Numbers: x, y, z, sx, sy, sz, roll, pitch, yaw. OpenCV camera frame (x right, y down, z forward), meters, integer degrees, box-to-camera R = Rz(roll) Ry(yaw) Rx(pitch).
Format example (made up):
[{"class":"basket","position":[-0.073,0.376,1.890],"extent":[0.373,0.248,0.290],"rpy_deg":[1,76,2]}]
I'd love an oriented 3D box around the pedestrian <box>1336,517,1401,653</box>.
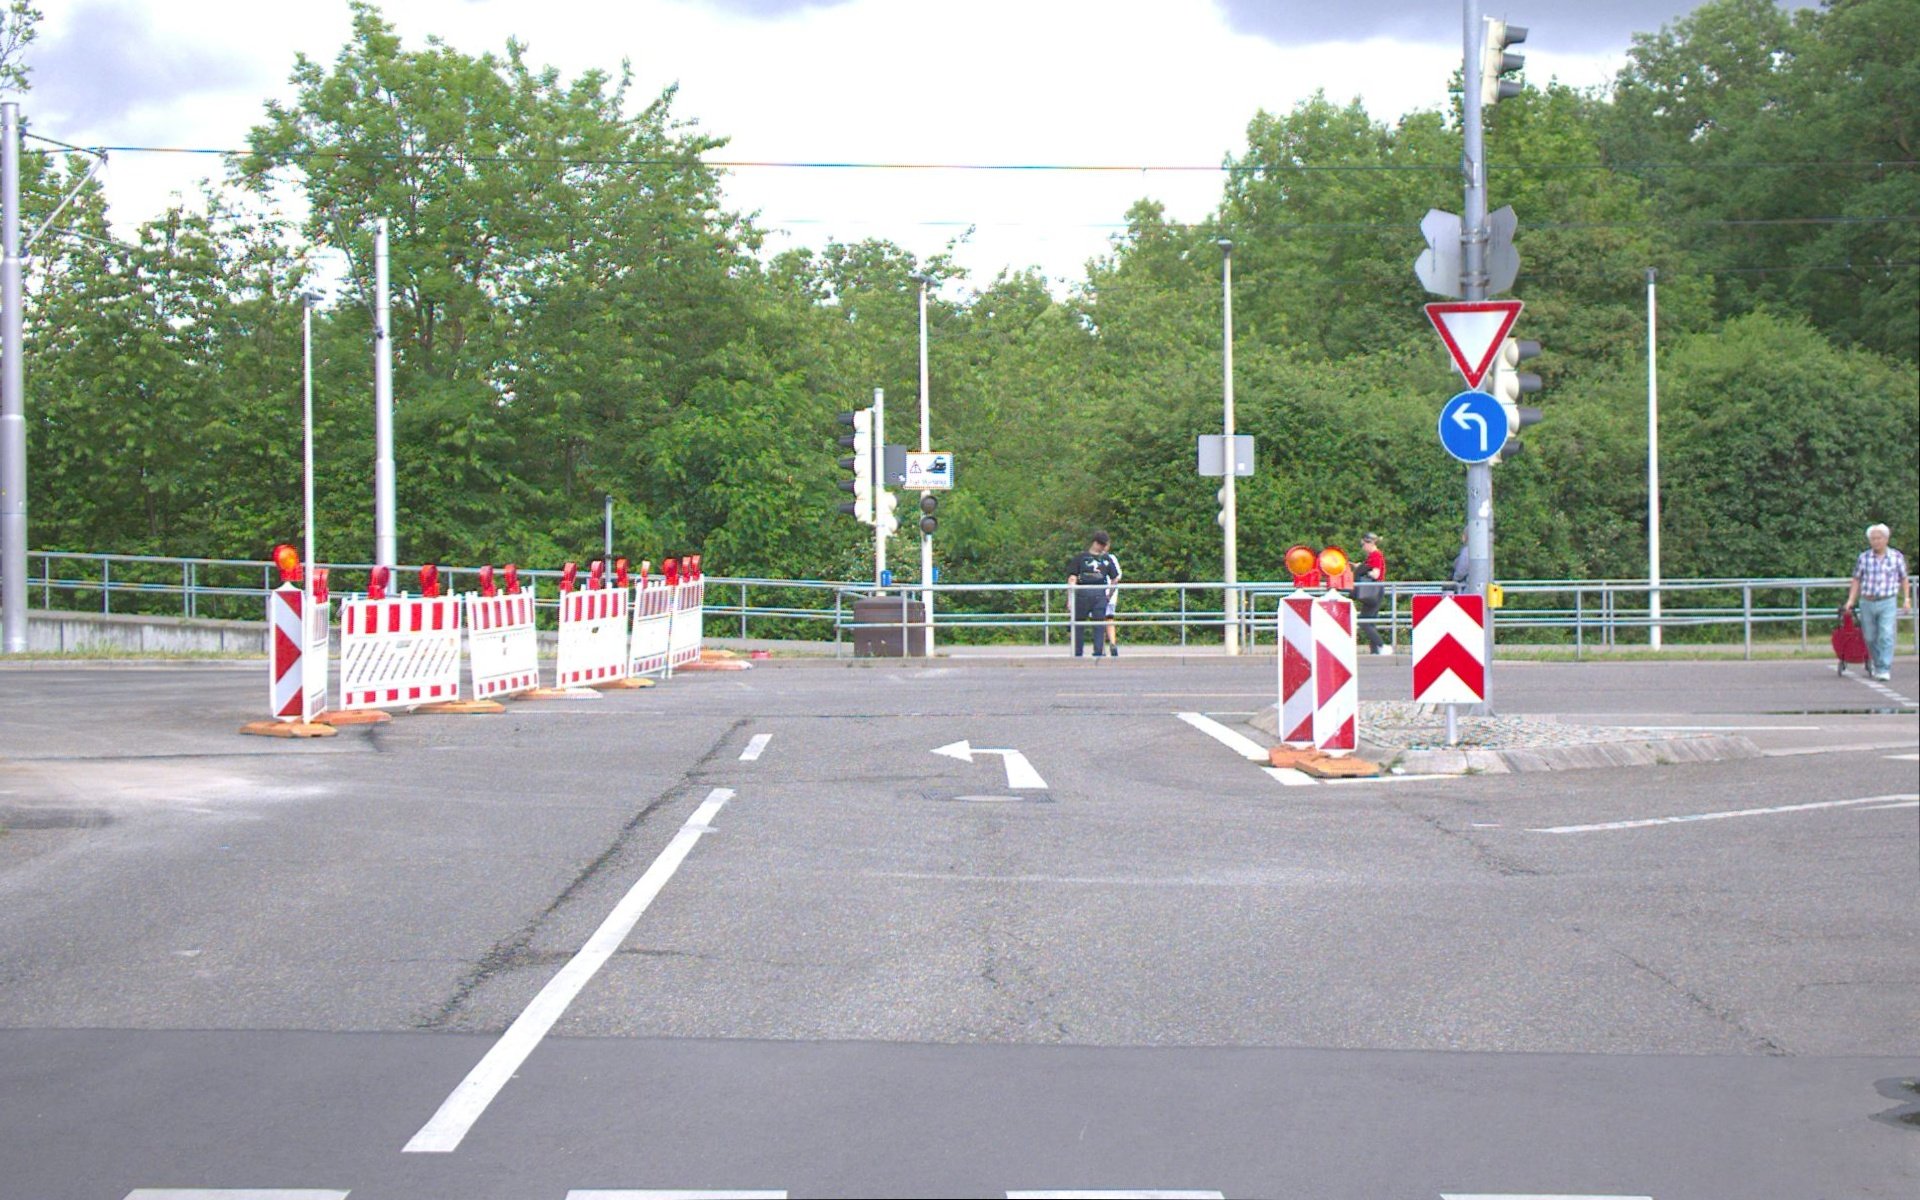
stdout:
[{"class":"pedestrian","position":[4.929,-0.185,41.467],"extent":[0.720,1.616,0.805],"rpy_deg":[0,1,10]}]

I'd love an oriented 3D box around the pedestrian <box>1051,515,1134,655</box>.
[{"class":"pedestrian","position":[1.670,-0.193,43.283],"extent":[0.954,1.742,0.723],"rpy_deg":[0,1,-5]}]

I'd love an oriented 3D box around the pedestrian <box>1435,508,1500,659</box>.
[{"class":"pedestrian","position":[5.908,-0.199,40.006],"extent":[0.720,1.742,0.957],"rpy_deg":[0,1,10]}]

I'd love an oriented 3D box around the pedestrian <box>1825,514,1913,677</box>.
[{"class":"pedestrian","position":[9.256,-0.053,35.003],"extent":[0.698,1.628,0.721],"rpy_deg":[1,1,29]}]
